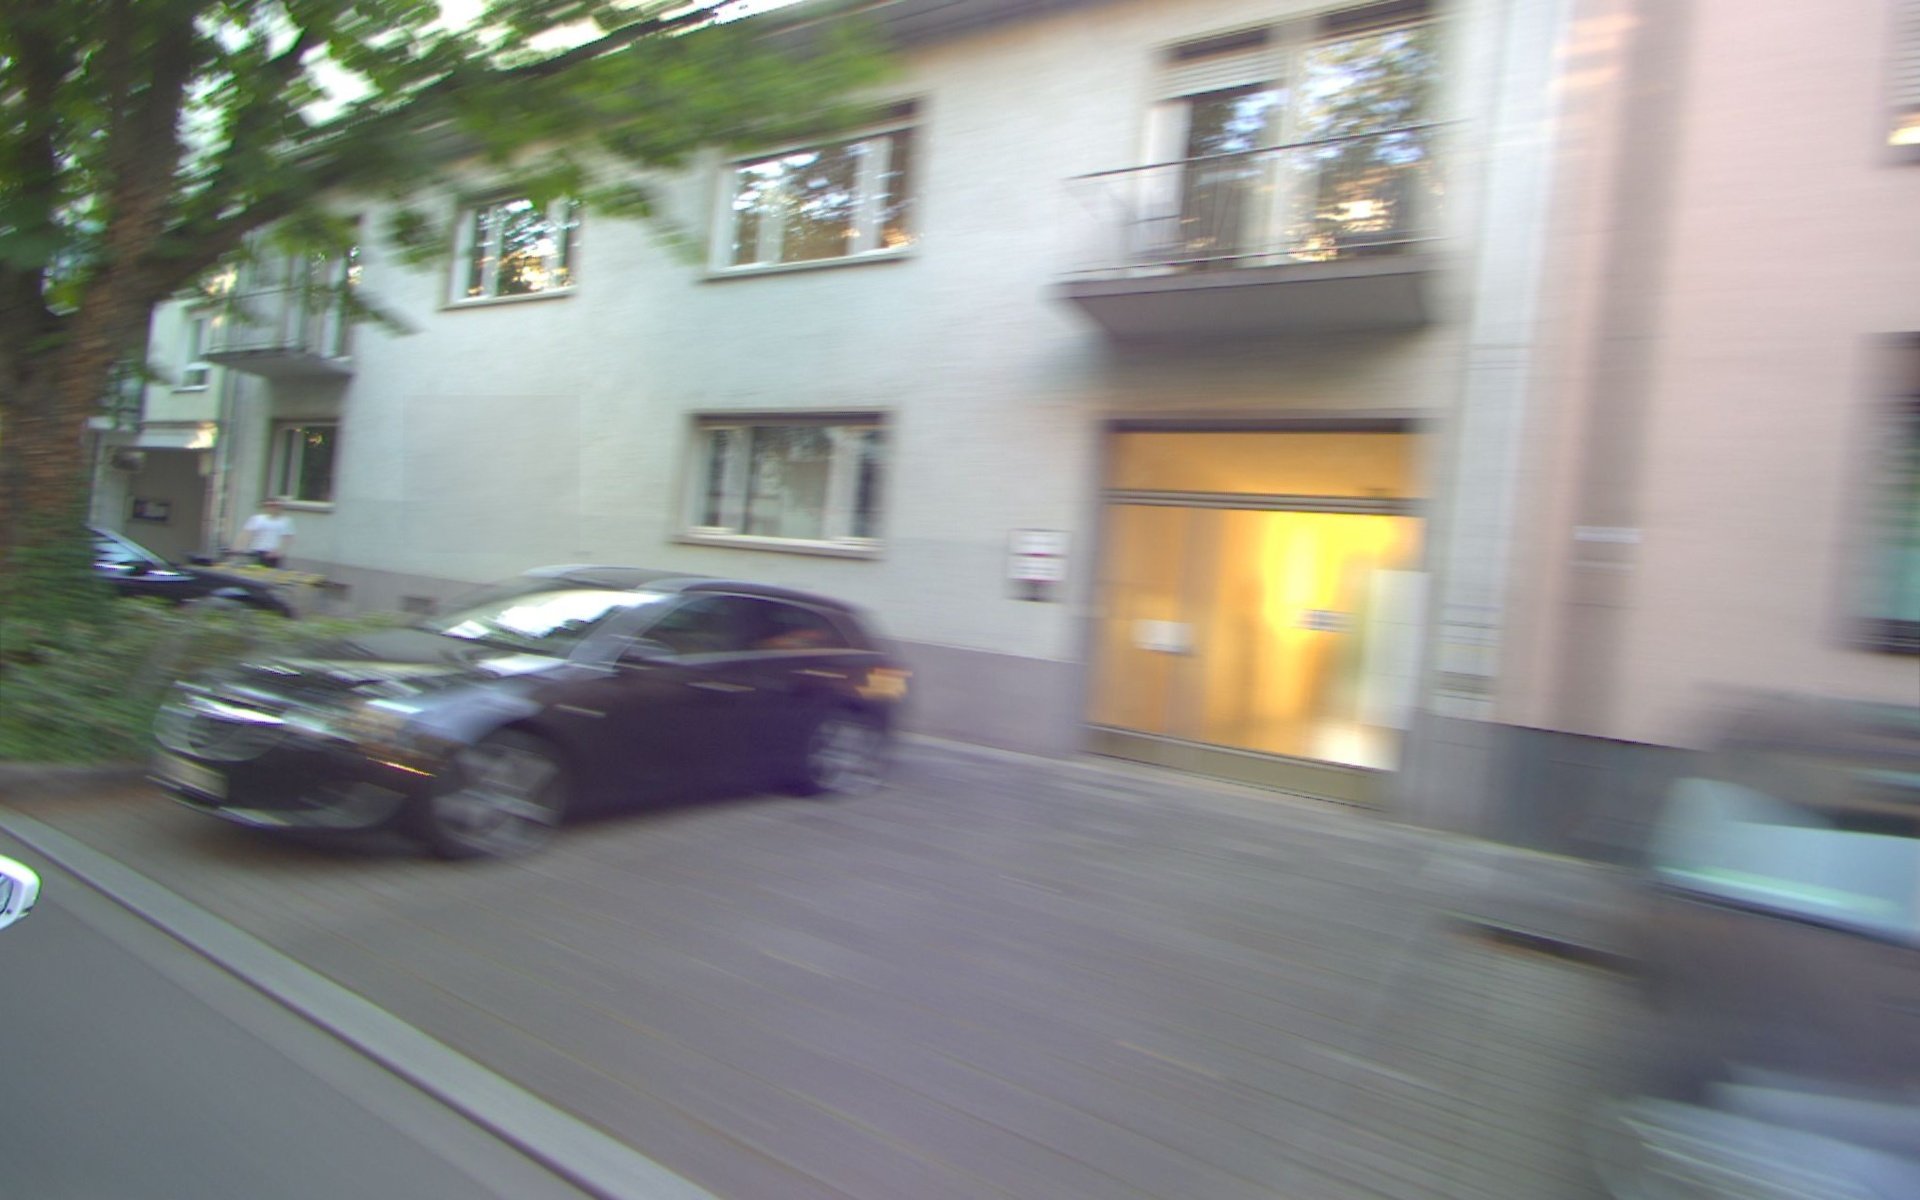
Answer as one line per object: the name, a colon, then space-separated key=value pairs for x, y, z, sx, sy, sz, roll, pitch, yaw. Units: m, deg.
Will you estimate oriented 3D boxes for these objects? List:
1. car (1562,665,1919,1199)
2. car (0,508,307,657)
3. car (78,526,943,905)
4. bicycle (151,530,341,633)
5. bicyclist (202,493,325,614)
car: x=3.032 y=1.051 z=2.922 sx=2.009 sy=1.467 sz=4.840 roll=5 pitch=1 yaw=33
car: x=-9.832 y=-0.224 z=10.654 sx=1.980 sy=1.446 sz=4.455 roll=5 pitch=1 yaw=36
car: x=-2.261 y=0.490 z=6.410 sx=1.968 sy=1.406 sz=4.677 roll=6 pitch=1 yaw=33
bicycle: x=-10.325 y=-0.285 z=14.484 sx=3.341 sy=1.178 sz=0.622 roll=5 pitch=0 yaw=26
bicyclist: x=-10.320 y=-0.680 z=14.916 sx=1.116 sy=1.624 sz=0.972 roll=6 pitch=0 yaw=27
